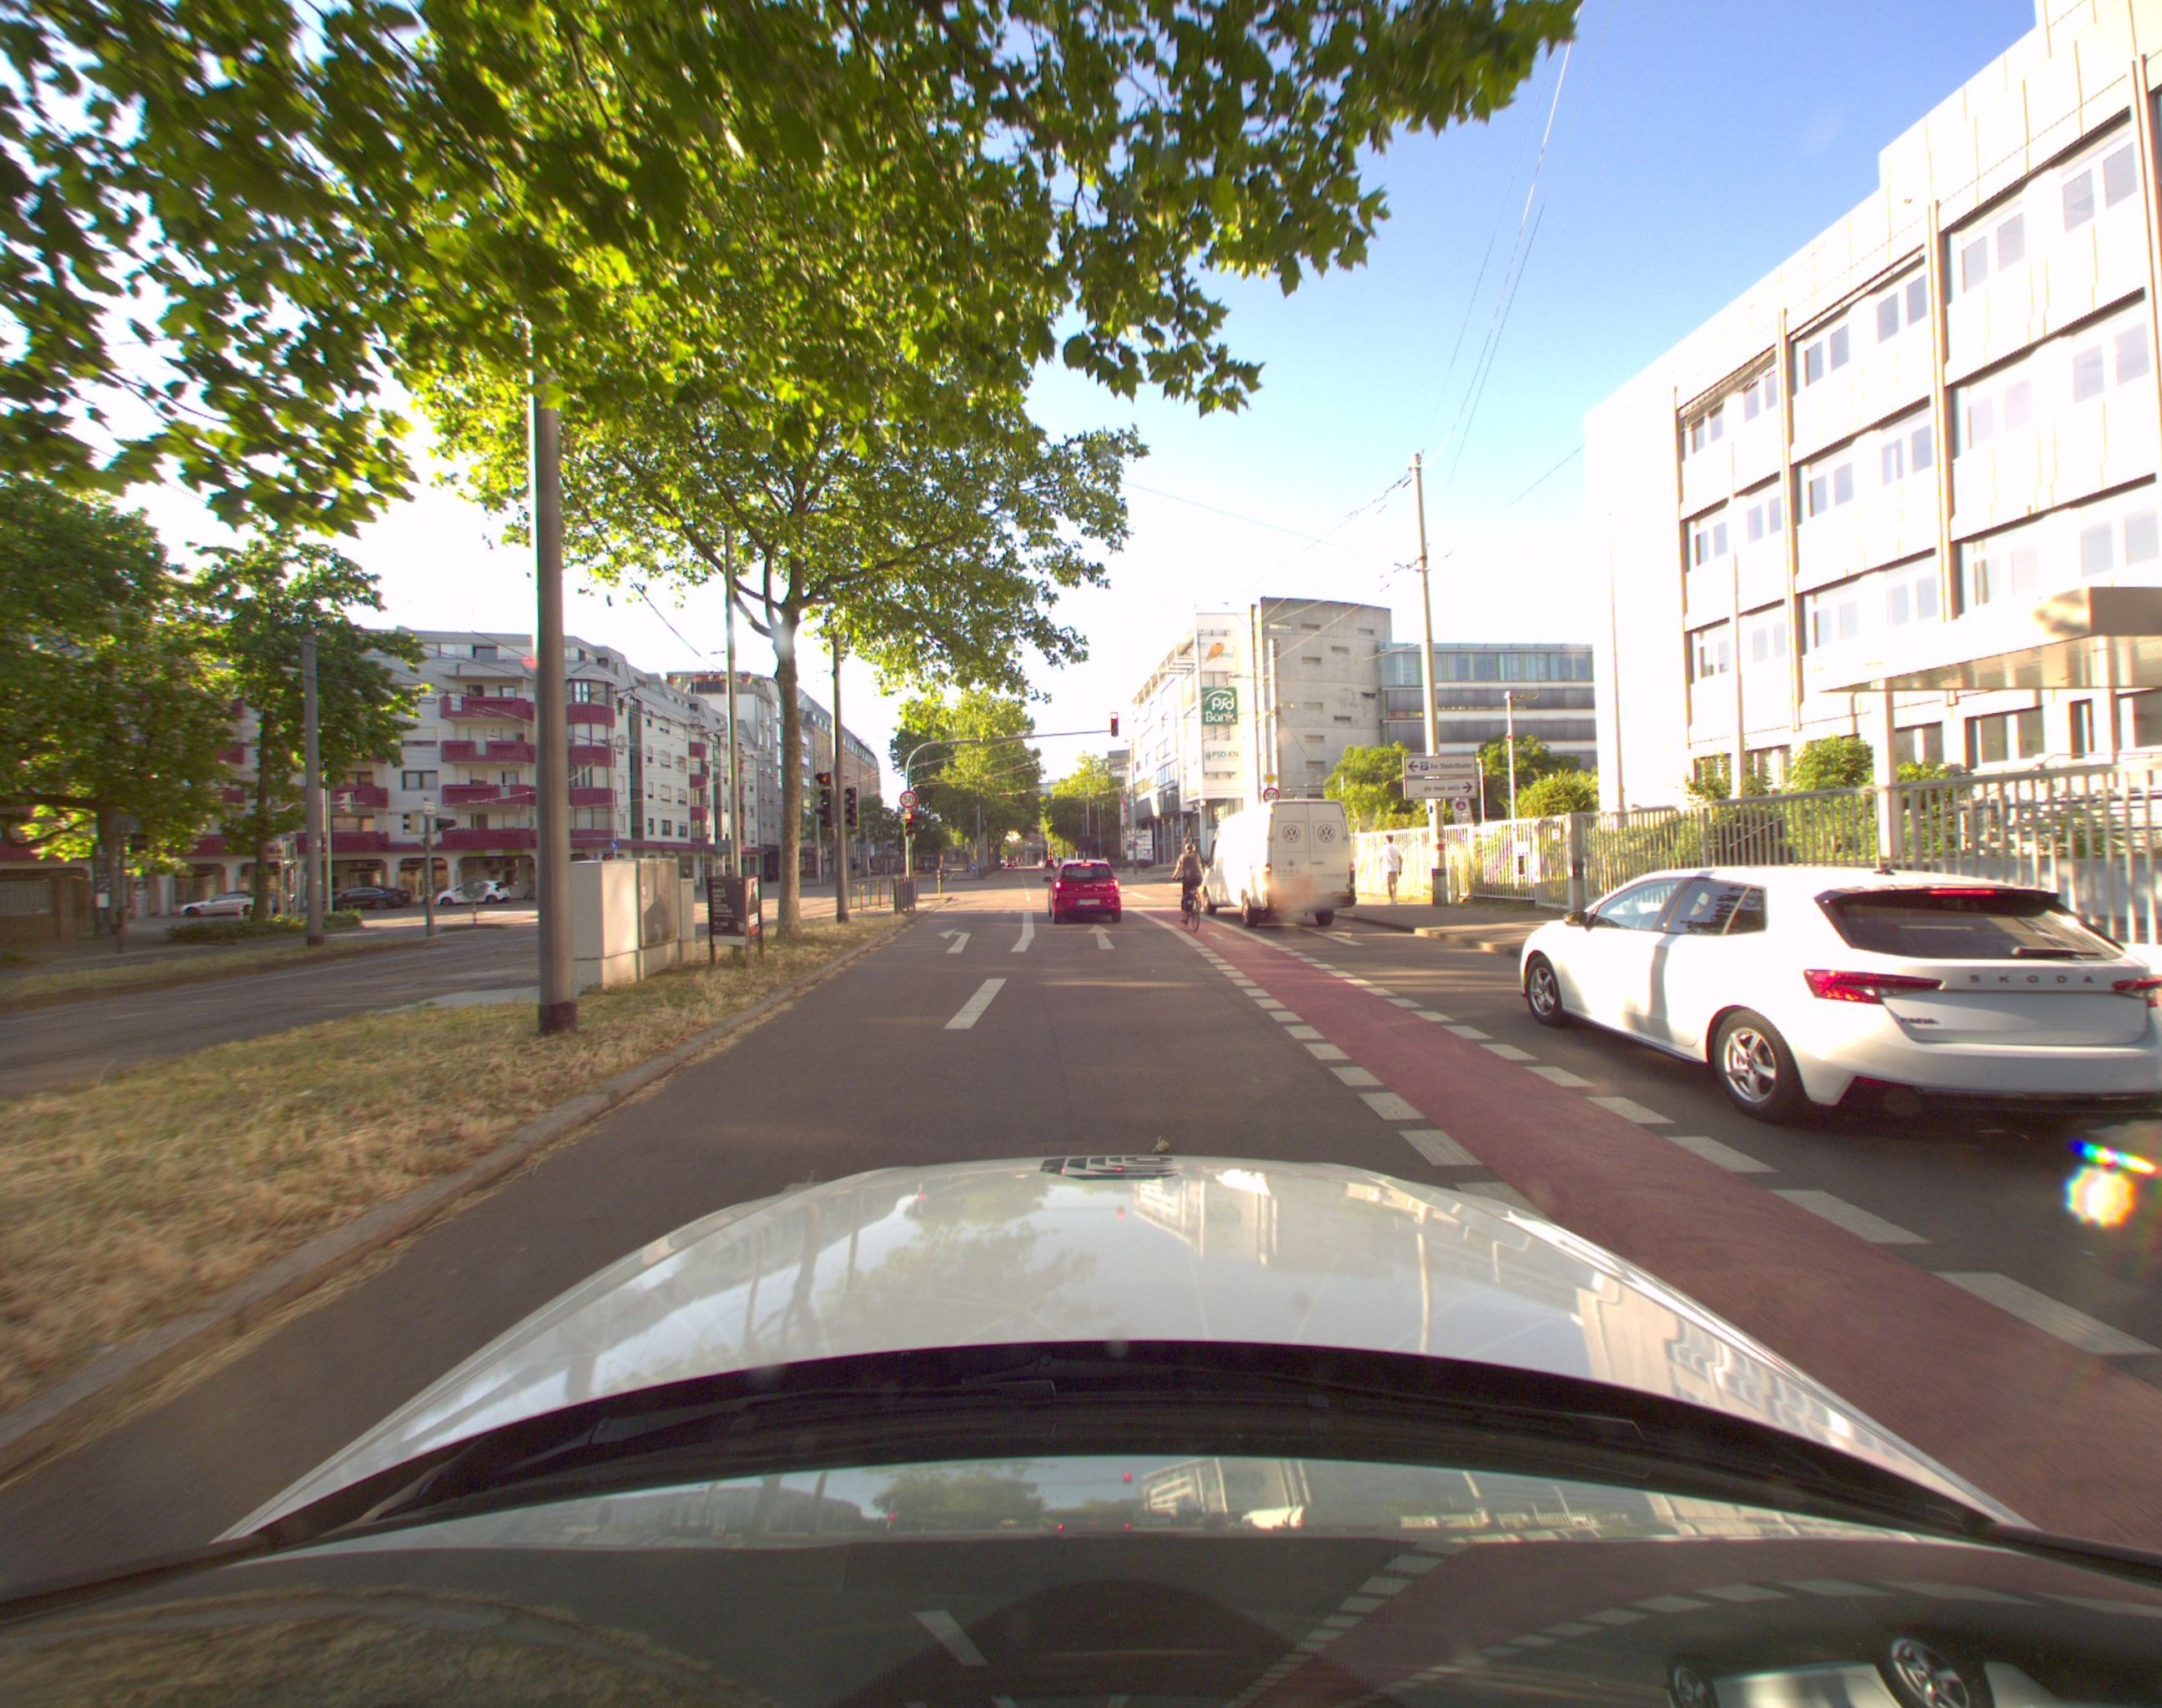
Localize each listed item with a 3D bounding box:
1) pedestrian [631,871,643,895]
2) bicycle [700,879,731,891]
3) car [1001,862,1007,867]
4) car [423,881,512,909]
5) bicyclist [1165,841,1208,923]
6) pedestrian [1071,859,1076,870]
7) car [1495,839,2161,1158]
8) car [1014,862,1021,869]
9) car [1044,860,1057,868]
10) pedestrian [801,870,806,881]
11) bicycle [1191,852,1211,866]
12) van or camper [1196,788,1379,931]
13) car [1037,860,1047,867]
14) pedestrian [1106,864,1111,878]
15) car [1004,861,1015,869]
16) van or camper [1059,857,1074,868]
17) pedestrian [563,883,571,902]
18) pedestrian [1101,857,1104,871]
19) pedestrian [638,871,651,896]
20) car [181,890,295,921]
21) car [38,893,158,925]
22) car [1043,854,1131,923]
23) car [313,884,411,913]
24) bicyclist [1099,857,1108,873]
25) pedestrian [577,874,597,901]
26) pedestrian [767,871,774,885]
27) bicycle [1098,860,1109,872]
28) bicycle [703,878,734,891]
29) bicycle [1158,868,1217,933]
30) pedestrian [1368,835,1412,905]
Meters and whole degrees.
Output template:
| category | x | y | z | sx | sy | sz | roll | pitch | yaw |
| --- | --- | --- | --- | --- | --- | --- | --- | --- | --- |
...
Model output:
| category | x | y | z | sx | sy | sz | roll | pitch | yaw |
| --- | --- | --- | --- | --- | --- | --- | --- | --- | --- |
| pedestrian | -31.889 | 2.086 | 58.520 | 0.510 | 1.699 | 0.527 | -2 | 0 | -7 |
| bicycle | -29.283 | 2.496 | 65.343 | 2.168 | 0.824 | 0.526 | -2 | 0 | -9 |
| car | -22.195 | 3.028 | 233.947 | 1.573 | 1.306 | 3.333 | -3 | 0 | -6 |
| car | -38.237 | 2.552 | 50.839 | 3.997 | 1.464 | 1.791 | -3 | 0 | -17 |
| bicyclist | 2.201 | 0.568 | 17.053 | 0.742 | 1.669 | 0.743 | 0 | 0 | -7 |
| pedestrian | -1.286 | 1.759 | 135.311 | 0.741 | 1.716 | 0.747 | -2 | -1 | -2 |
| car | 4.755 | 0.692 | 5.858 | 1.793 | 1.501 | 3.986 | -1 | 0 | 5 |
| car | -16.732 | 3.057 | 214.331 | 1.655 | 1.607 | 3.524 | -3 | 0 | -6 |
| car | -6.512 | 2.145 | 175.159 | 2.476 | 1.528 | 4.421 | -3 | 0 | -7 |
| pedestrian | -34.637 | 2.680 | 101.711 | 0.510 | 1.459 | 0.527 | -2 | 0 | -7 |
| bicycle | 13.069 | 0.583 | 88.683 | 1.932 | 1.443 | 0.574 | -3 | 0 | -7 |
| van or camper | 4.459 | 0.129 | 18.898 | 2.264 | 2.733 | 6.337 | 0 | 0 | -4 |
| car | -9.289 | 2.322 | 192.960 | 1.884 | 1.528 | 4.419 | -3 | 0 | -8 |
| pedestrian | 3.081 | 1.921 | 90.580 | 0.296 | 1.562 | 0.352 | -2 | -1 | -31 |
| car | -16.570 | 2.482 | 188.550 | 2.057 | 1.654 | 3.480 | -3 | 0 | -10 |
| van or camper | -2.668 | 1.507 | 145.648 | 2.144 | 1.750 | 4.419 | -3 | 0 | -8 |
| pedestrian | -33.519 | 2.484 | 53.105 | 0.303 | 1.214 | 0.317 | -3 | 0 | -10 |
| pedestrian | 2.417 | 1.066 | 90.471 | 0.293 | 1.562 | 0.302 | -2 | -1 | -4 |
| pedestrian | -31.234 | 2.107 | 58.287 | 0.506 | 1.699 | 0.530 | -3 | -1 | 19 |
| car | -49.394 | 3.000 | 47.809 | 4.265 | 1.464 | 1.792 | -3 | 0 | -16 |
| car | -55.871 | 3.106 | 46.361 | 3.995 | 1.464 | 1.792 | -3 | 0 | -16 |
| car | 0.063 | 0.798 | 20.327 | 1.836 | 1.489 | 3.710 | -2 | 0 | -5 |
| car | -43.403 | 2.663 | 49.256 | 3.997 | 1.464 | 1.791 | -3 | 0 | -18 |
| bicyclist | 2.233 | 1.088 | 81.712 | 0.784 | 1.635 | 0.637 | -2 | 0 | -7 |
| pedestrian | -31.451 | 2.097 | 51.832 | 0.708 | 1.662 | 1.030 | -3 | 0 | -10 |
| pedestrian | -33.997 | 2.602 | 89.220 | 0.508 | 1.459 | 0.528 | -2 | 0 | 0 |
| bicycle | 2.253 | 1.232 | 81.539 | 0.792 | 1.161 | 2.494 | -2 | 0 | -7 |
| bicycle | -29.383 | 2.455 | 65.980 | 2.168 | 0.951 | 0.490 | -2 | 0 | -9 |
| bicycle | 2.192 | 0.925 | 17.069 | 0.743 | 1.224 | 2.151 | 0 | 0 | -7 |
| pedestrian | 7.993 | 0.408 | 21.099 | 0.783 | 1.748 | 0.772 | -3 | 0 | 0 |
